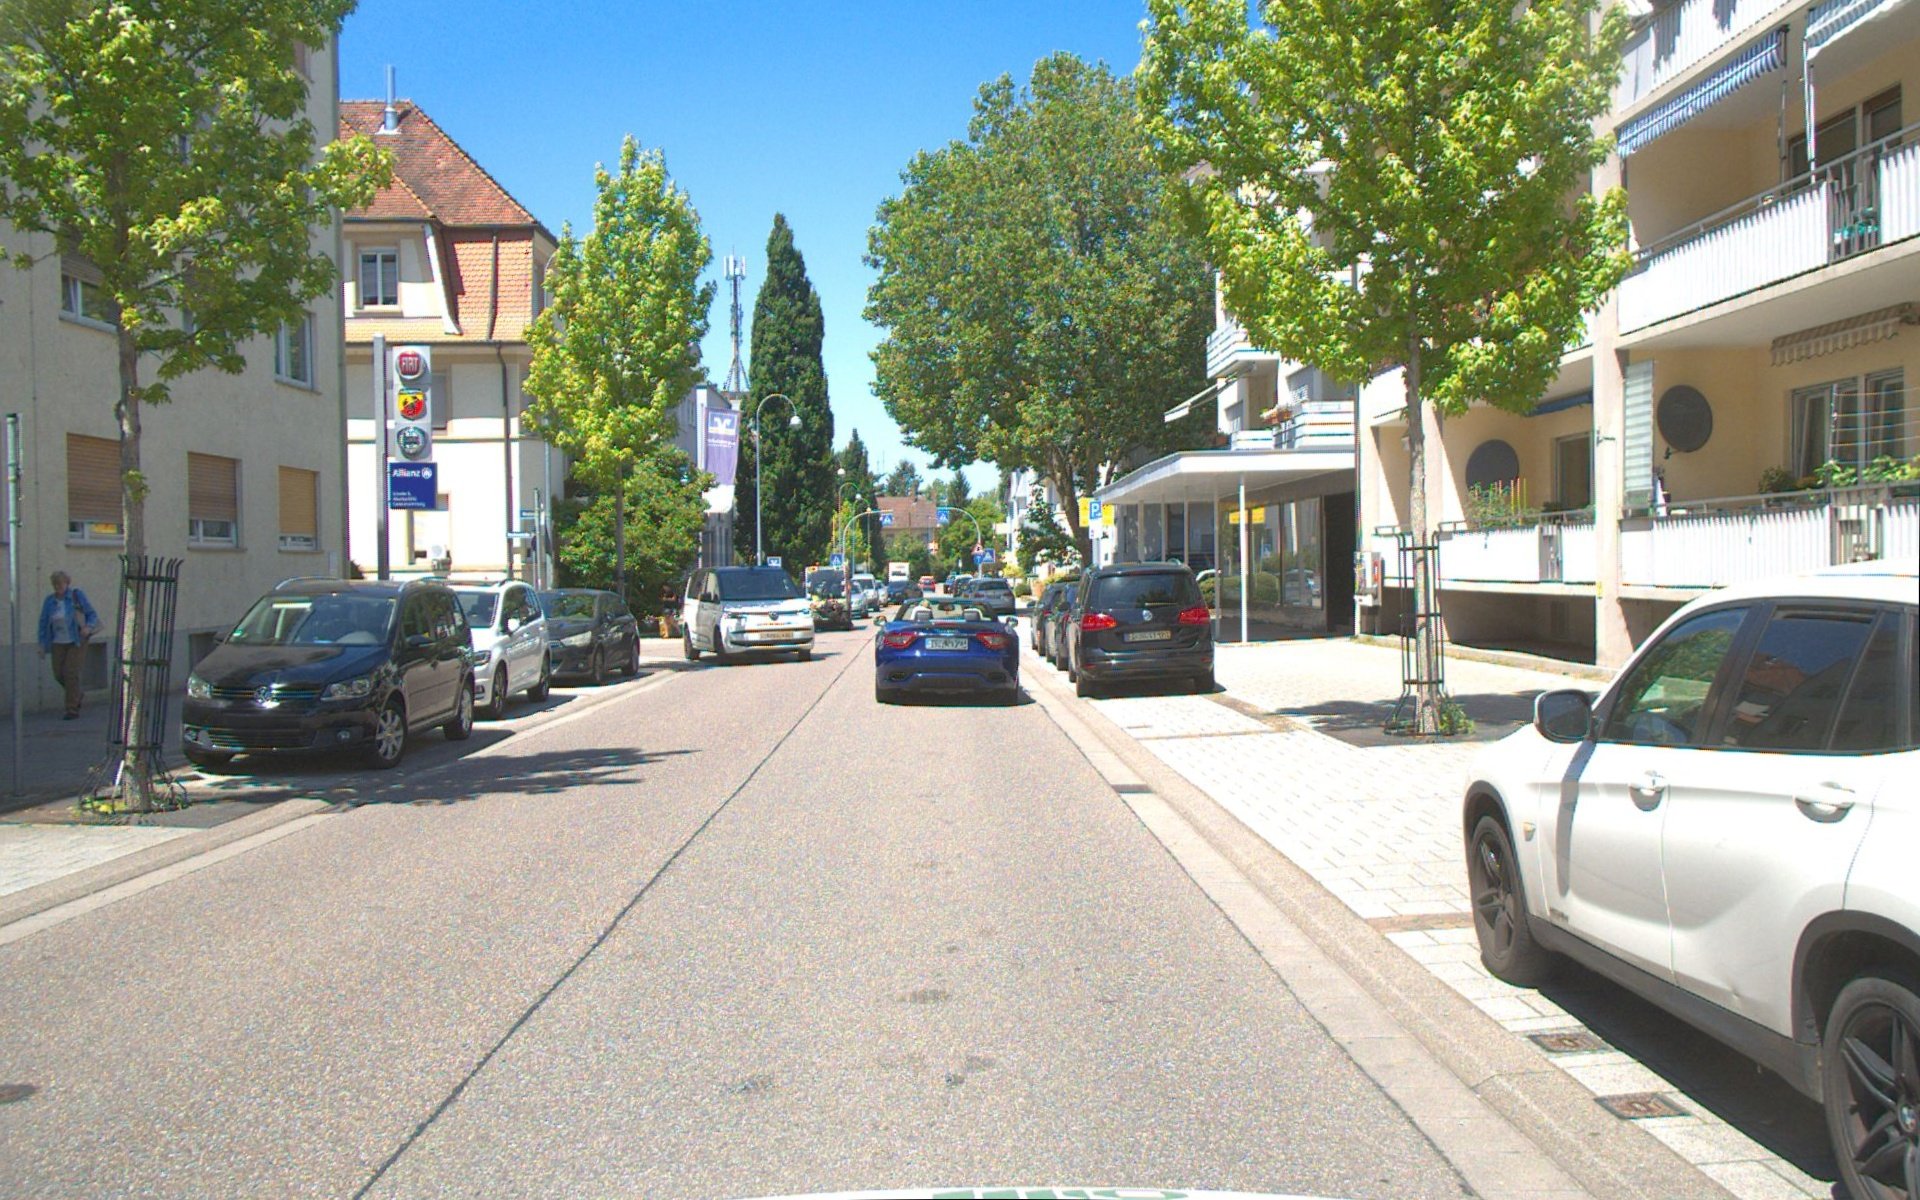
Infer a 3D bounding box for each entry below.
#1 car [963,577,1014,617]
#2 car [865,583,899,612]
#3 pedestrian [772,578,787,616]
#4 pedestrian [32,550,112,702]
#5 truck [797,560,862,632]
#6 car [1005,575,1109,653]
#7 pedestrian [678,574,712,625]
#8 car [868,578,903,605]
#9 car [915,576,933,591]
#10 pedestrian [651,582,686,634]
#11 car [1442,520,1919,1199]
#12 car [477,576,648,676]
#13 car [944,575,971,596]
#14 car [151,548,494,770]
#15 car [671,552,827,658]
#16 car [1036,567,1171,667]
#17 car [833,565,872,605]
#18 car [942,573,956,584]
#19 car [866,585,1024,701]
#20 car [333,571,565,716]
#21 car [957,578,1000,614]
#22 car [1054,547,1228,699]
[{"bbox_3d":[1.171,-0.166,69.645,1.936,1.475,4.349,-2,2,-1],"label":"car"},{"bbox_3d":[-4.263,-0.163,91.179,1.734,1.502,4.136,-2,1,-2],"label":"car"},{"bbox_3d":[-7.620,-0.116,69.934,0.575,1.602,0.781,0,0,-2],"label":"pedestrian"},{"bbox_3d":[-10.417,0.290,19.415,0.646,1.709,0.628,-3,3,-19],"label":"pedestrian"},{"bbox_3d":[-4.124,-0.177,52.888,1.768,2.154,4.714,-2,1,-1],"label":"truck"},{"bbox_3d":[1.935,0.265,34.110,1.807,1.439,4.162,-2,0,-1],"label":"car"},{"bbox_3d":[-7.448,-0.026,46.497,0.683,1.394,0.594,0,4,44],"label":"pedestrian"},{"bbox_3d":[-4.296,-0.513,96.262,1.911,1.502,4.136,-2,1,-2],"label":"car"},{"bbox_3d":[-3.586,-1.659,165.759,1.734,1.502,4.136,0,0,-2],"label":"car"},{"bbox_3d":[-8.216,0.224,46.617,0.765,1.394,0.542,-5,4,-42],"label":"pedestrian"},{"bbox_3d":[2.877,0.598,4.830,1.687,1.611,4.225,-2,0,0],"label":"car"},{"bbox_3d":[-6.497,0.379,27.493,1.718,1.499,4.322,1,1,1],"label":"car"},{"bbox_3d":[-0.227,-1.138,126.559,1.911,1.502,4.136,-2,1,-2],"label":"car"},{"bbox_3d":[-5.872,0.452,15.832,1.694,1.771,4.390,2,1,-3],"label":"car"},{"bbox_3d":[-4.404,0.092,33.807,1.881,1.956,4.870,-2,1,-23],"label":"car"},{"bbox_3d":[2.438,0.269,29.105,1.856,1.556,4.568,-2,0,-1],"label":"car"},{"bbox_3d":[-5.193,-0.741,80.172,1.734,1.798,4.136,-2,1,-3],"label":"car"},{"bbox_3d":[-1.487,-2.910,224.448,1.911,1.502,4.137,-2,1,0],"label":"car"},{"bbox_3d":[-0.267,0.512,22.604,1.936,1.422,4.625,0,0,-2],"label":"car"},{"bbox_3d":[-6.420,0.466,21.290,1.787,1.647,4.391,1,1,-3],"label":"car"},{"bbox_3d":[0.874,-0.212,81.885,1.936,1.583,4.349,-2,2,-1],"label":"car"},{"bbox_3d":[2.435,0.221,23.283,1.952,1.829,4.570,-2,2,1],"label":"car"}]
